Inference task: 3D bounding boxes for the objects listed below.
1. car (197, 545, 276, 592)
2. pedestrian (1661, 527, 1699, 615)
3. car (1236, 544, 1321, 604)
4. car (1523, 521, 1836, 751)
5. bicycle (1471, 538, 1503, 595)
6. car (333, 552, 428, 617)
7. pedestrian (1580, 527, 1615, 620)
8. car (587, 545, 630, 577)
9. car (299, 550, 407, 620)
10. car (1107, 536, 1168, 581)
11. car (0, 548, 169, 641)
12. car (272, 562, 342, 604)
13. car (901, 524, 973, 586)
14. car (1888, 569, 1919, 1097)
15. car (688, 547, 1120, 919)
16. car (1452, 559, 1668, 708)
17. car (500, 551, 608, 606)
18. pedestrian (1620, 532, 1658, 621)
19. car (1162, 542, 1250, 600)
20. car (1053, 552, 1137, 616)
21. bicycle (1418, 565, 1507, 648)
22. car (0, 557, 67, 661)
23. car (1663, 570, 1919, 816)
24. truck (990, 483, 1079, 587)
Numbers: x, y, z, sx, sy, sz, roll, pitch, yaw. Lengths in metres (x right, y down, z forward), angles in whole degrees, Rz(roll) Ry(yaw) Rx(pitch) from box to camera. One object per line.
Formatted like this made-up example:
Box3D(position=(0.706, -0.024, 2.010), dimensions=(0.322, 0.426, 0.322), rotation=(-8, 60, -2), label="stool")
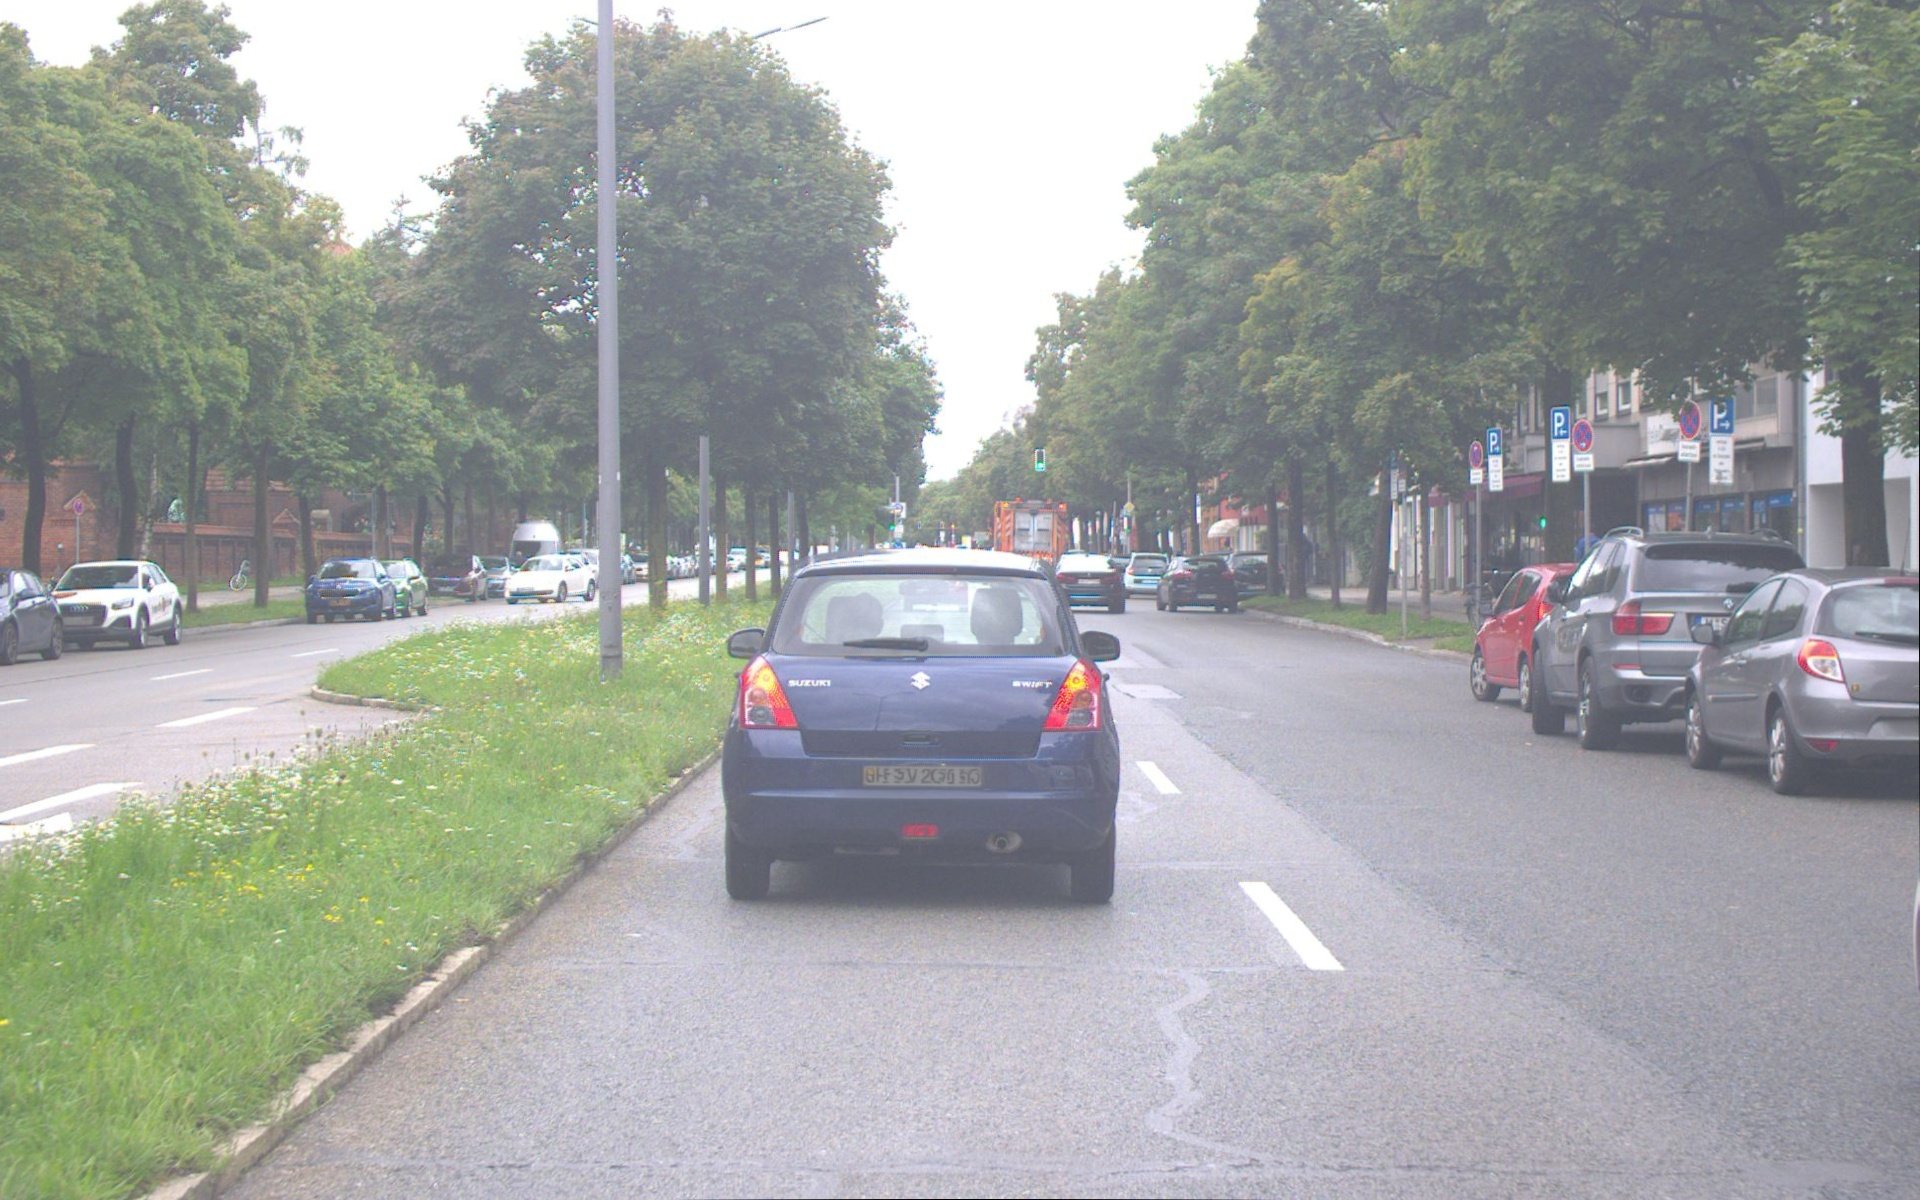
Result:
Box3D(position=(-24.423, -1.089, 116.208), dimensions=(1.813, 1.531, 4.299), rotation=(1, 1, -1), label="car")
Box3D(position=(13.499, -0.547, 64.466), dimensions=(0.541, 1.635, 0.724), rotation=(0, 1, 0), label="pedestrian")
Box3D(position=(8.864, -0.754, 96.015), dimensions=(1.993, 1.637, 4.333), rotation=(0, 1, 0), label="car")
Box3D(position=(5.852, 0.239, 28.460), dimensions=(1.829, 1.740, 4.508), rotation=(0, 1, 3), label="car")
Box3D(position=(13.678, -0.869, 89.240), dimensions=(0.580, 1.458, 1.688), rotation=(0, 1, 0), label="bicycle")
Box3D(position=(-14.622, -0.413, 86.914), dimensions=(1.638, 1.532, 4.315), rotation=(-3, 1, 0), label="car")
Box3D(position=(11.850, -0.497, 63.927), dimensions=(0.500, 1.727, 0.733), rotation=(0, 1, 0), label="pedestrian")
Box3D(position=(-17.118, -1.909, 167.469), dimensions=(1.706, 1.529, 4.000), rotation=(0, 1, 0), label="car")
Box3D(position=(-14.469, -0.376, 82.187), dimensions=(1.886, 1.532, 4.315), rotation=(-3, 1, -2), label="car")
Box3D(position=(5.825, -1.384, 113.043), dimensions=(1.653, 1.447, 4.001), rotation=(0, 1, -2), label="car")
Box3D(position=(-14.565, -0.085, 57.389), dimensions=(1.857, 1.485, 4.142), rotation=(0, 0, -1), label="car")
Box3D(position=(-24.460, -0.650, 128.868), dimensions=(1.813, 1.531, 4.441), rotation=(1, 1, -1), label="car")
Box3D(position=(-0.568, -1.121, 85.163), dimensions=(1.718, 1.495, 4.301), rotation=(1, 1, 0), label="car")
Box3D(position=(3.623, 0.684, 8.268), dimensions=(1.686, 1.485, 3.435), rotation=(0, 1, -3), label="car")
Box3D(position=(-0.208, 0.510, 15.993), dimensions=(1.753, 1.499, 4.000), rotation=(0, 1, 1), label="car")
Box3D(position=(6.116, 0.300, 35.396), dimensions=(1.521, 1.436, 4.000), rotation=(0, 1, 0), label="car")
Box3D(position=(-12.708, -0.692, 107.808), dimensions=(1.762, 1.532, 4.311), rotation=(-2, 1, 16), label="car")
Box3D(position=(12.615, -0.442, 63.898), dimensions=(0.549, 1.624, 0.641), rotation=(-2, 1, 0), label="pedestrian")
Box3D(position=(6.306, -0.765, 88.461), dimensions=(1.993, 1.447, 4.000), rotation=(0, 1, 0), label="car")
Box3D(position=(3.335, -0.412, 85.762), dimensions=(1.821, 1.472, 4.691), rotation=(2, 1, 0), label="car")
Box3D(position=(7.837, 0.091, 53.677), dimensions=(0.454, 1.251, 2.150), rotation=(0, 1, -18), label="bicycle")
Box3D(position=(-14.725, 0.132, 51.111), dimensions=(1.857, 1.485, 4.252), rotation=(0, 0, -1), label="car")
Box3D(position=(6.153, 0.570, 23.502), dimensions=(1.829, 1.517, 3.771), rotation=(0, 1, -1), label="car")
Box3D(position=(2.658, -2.367, 125.808), dimensions=(3.041, 3.545, 13.674), rotation=(1, 1, 1), label="truck")
